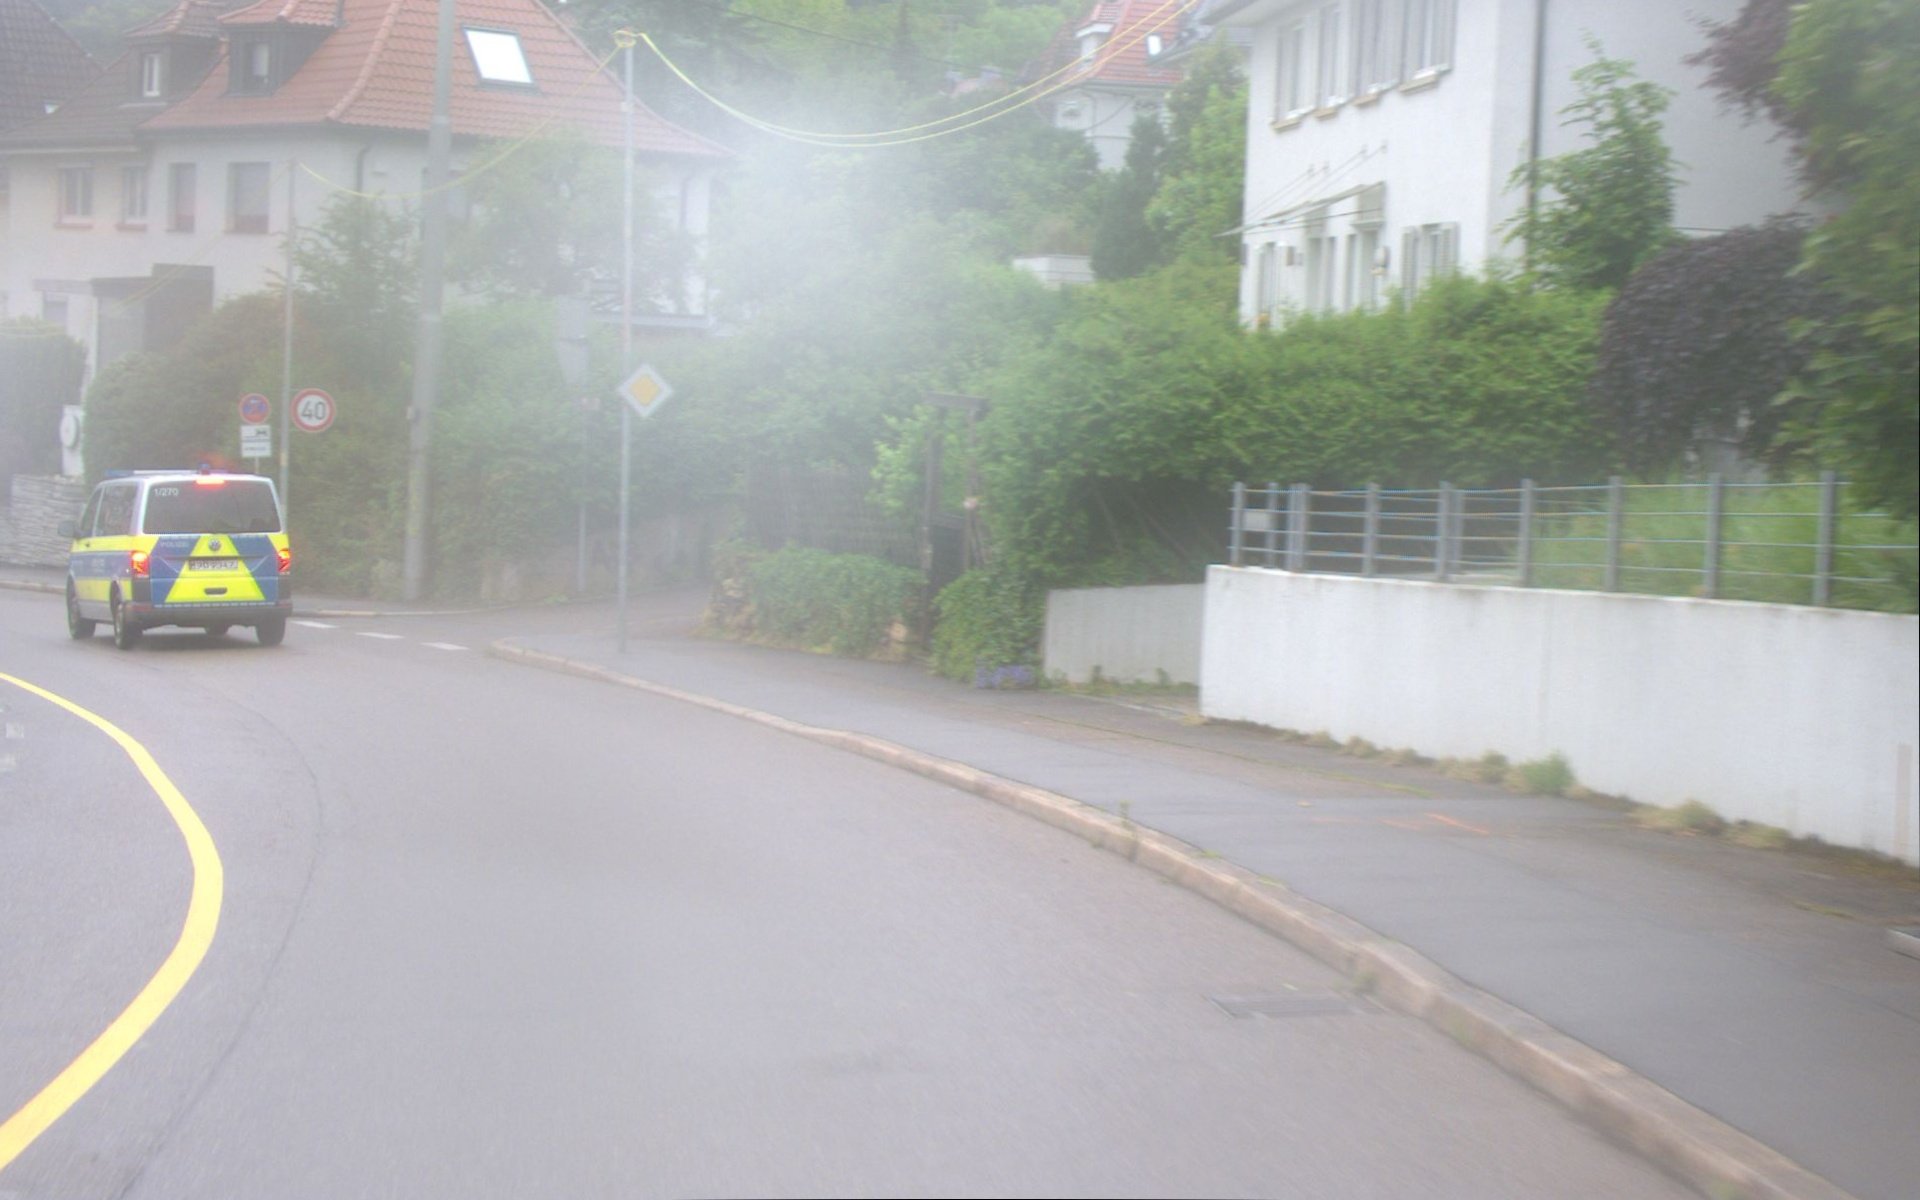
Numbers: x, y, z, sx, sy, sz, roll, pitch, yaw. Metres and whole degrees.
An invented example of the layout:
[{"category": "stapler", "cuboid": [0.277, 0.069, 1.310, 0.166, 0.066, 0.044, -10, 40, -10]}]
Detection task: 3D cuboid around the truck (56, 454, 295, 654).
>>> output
[{"category": "truck", "cuboid": [-9.166, -0.601, 39.903, 1.993, 2.006, 4.737, -1, 4, -22]}]
